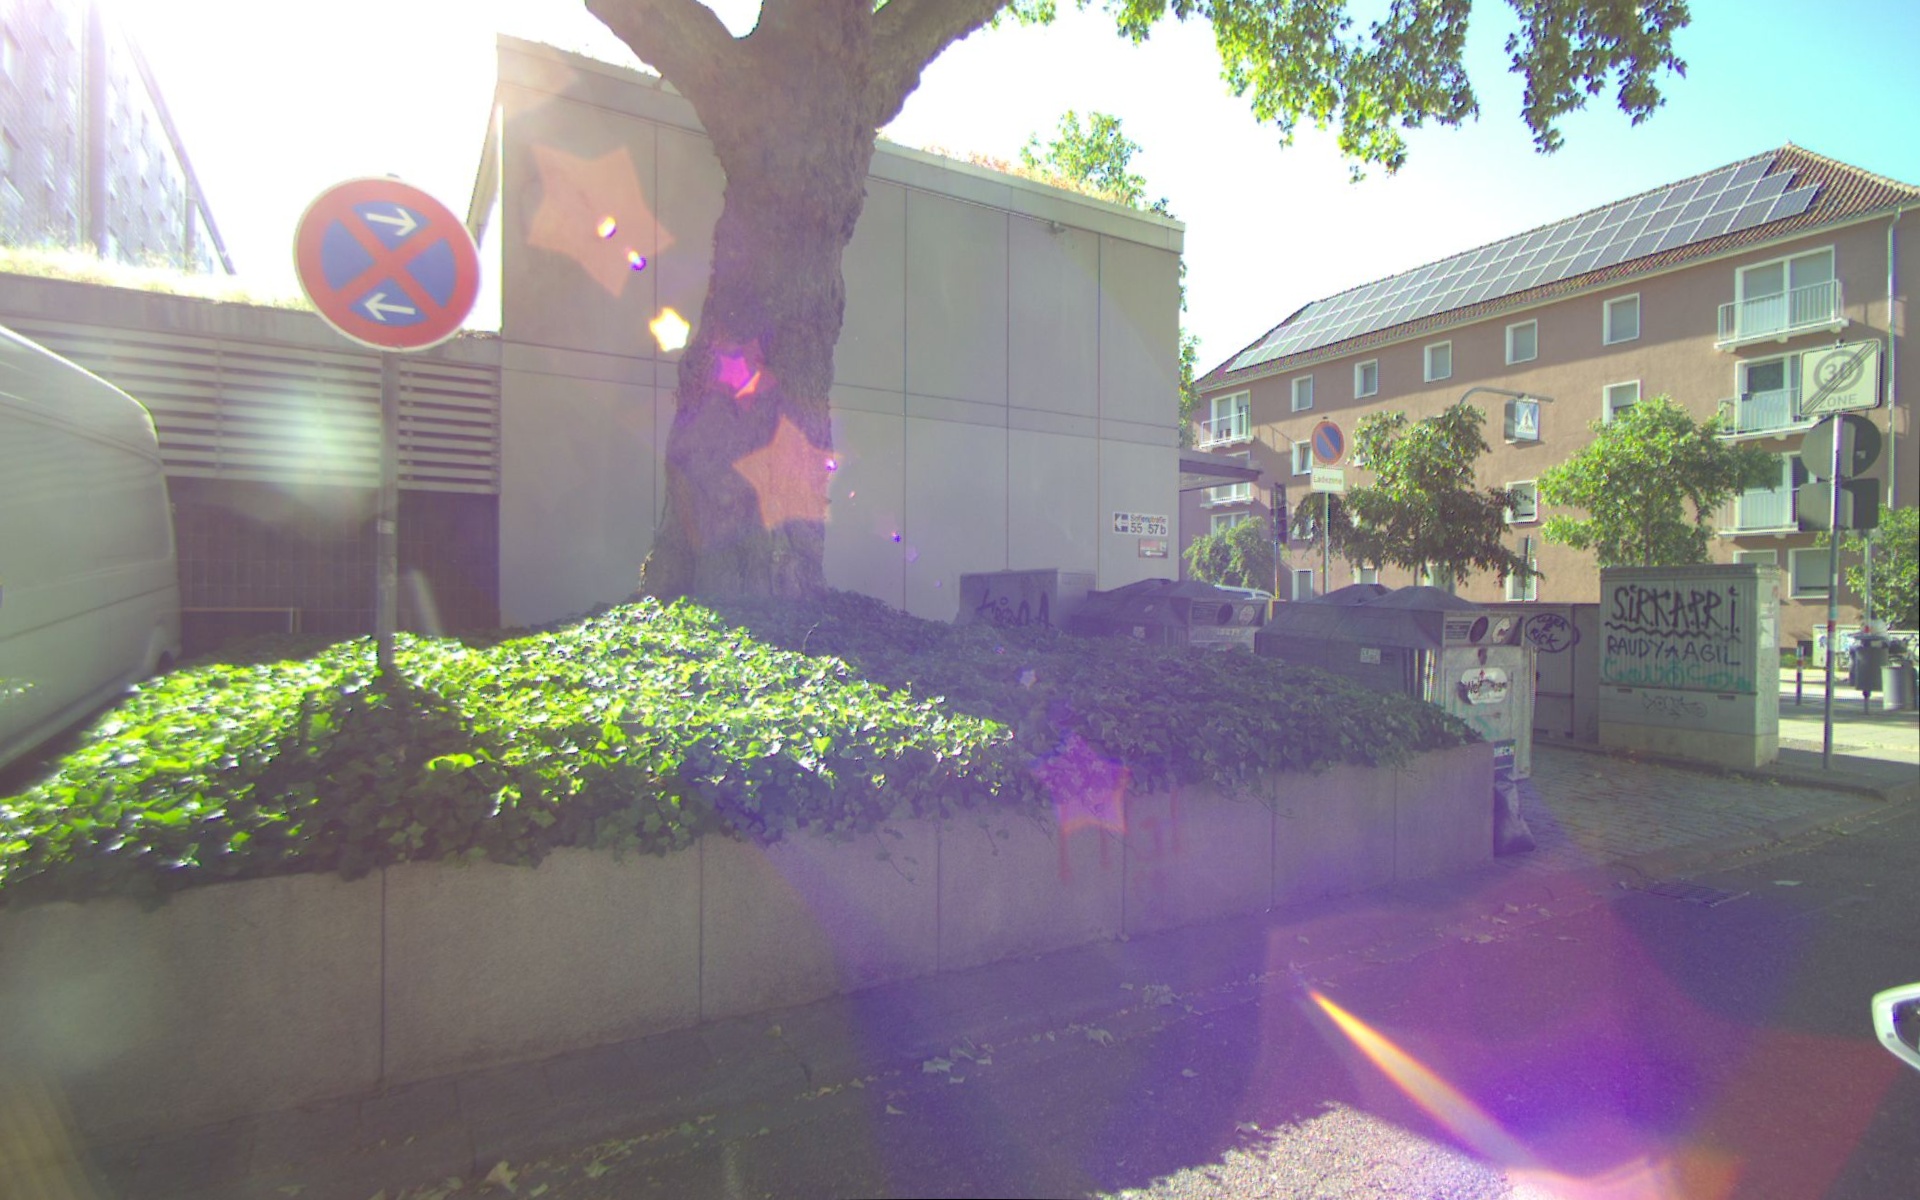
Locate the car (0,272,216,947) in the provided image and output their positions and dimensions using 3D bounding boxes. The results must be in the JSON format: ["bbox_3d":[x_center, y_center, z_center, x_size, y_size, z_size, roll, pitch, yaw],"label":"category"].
[{"bbox_3d":[-5.127,-0.015,4.314,2.119,2.589,6.709,1,2,-28],"label":"car"}]

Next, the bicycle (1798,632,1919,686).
[{"bbox_3d":[19.929,1.269,22.021,0.777,1.094,2.427,1,-1,-13],"label":"bicycle"}]

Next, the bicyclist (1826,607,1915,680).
[{"bbox_3d":[19.920,0.944,22.005,0.826,1.536,1.196,1,-1,-13],"label":"bicyclist"}]
